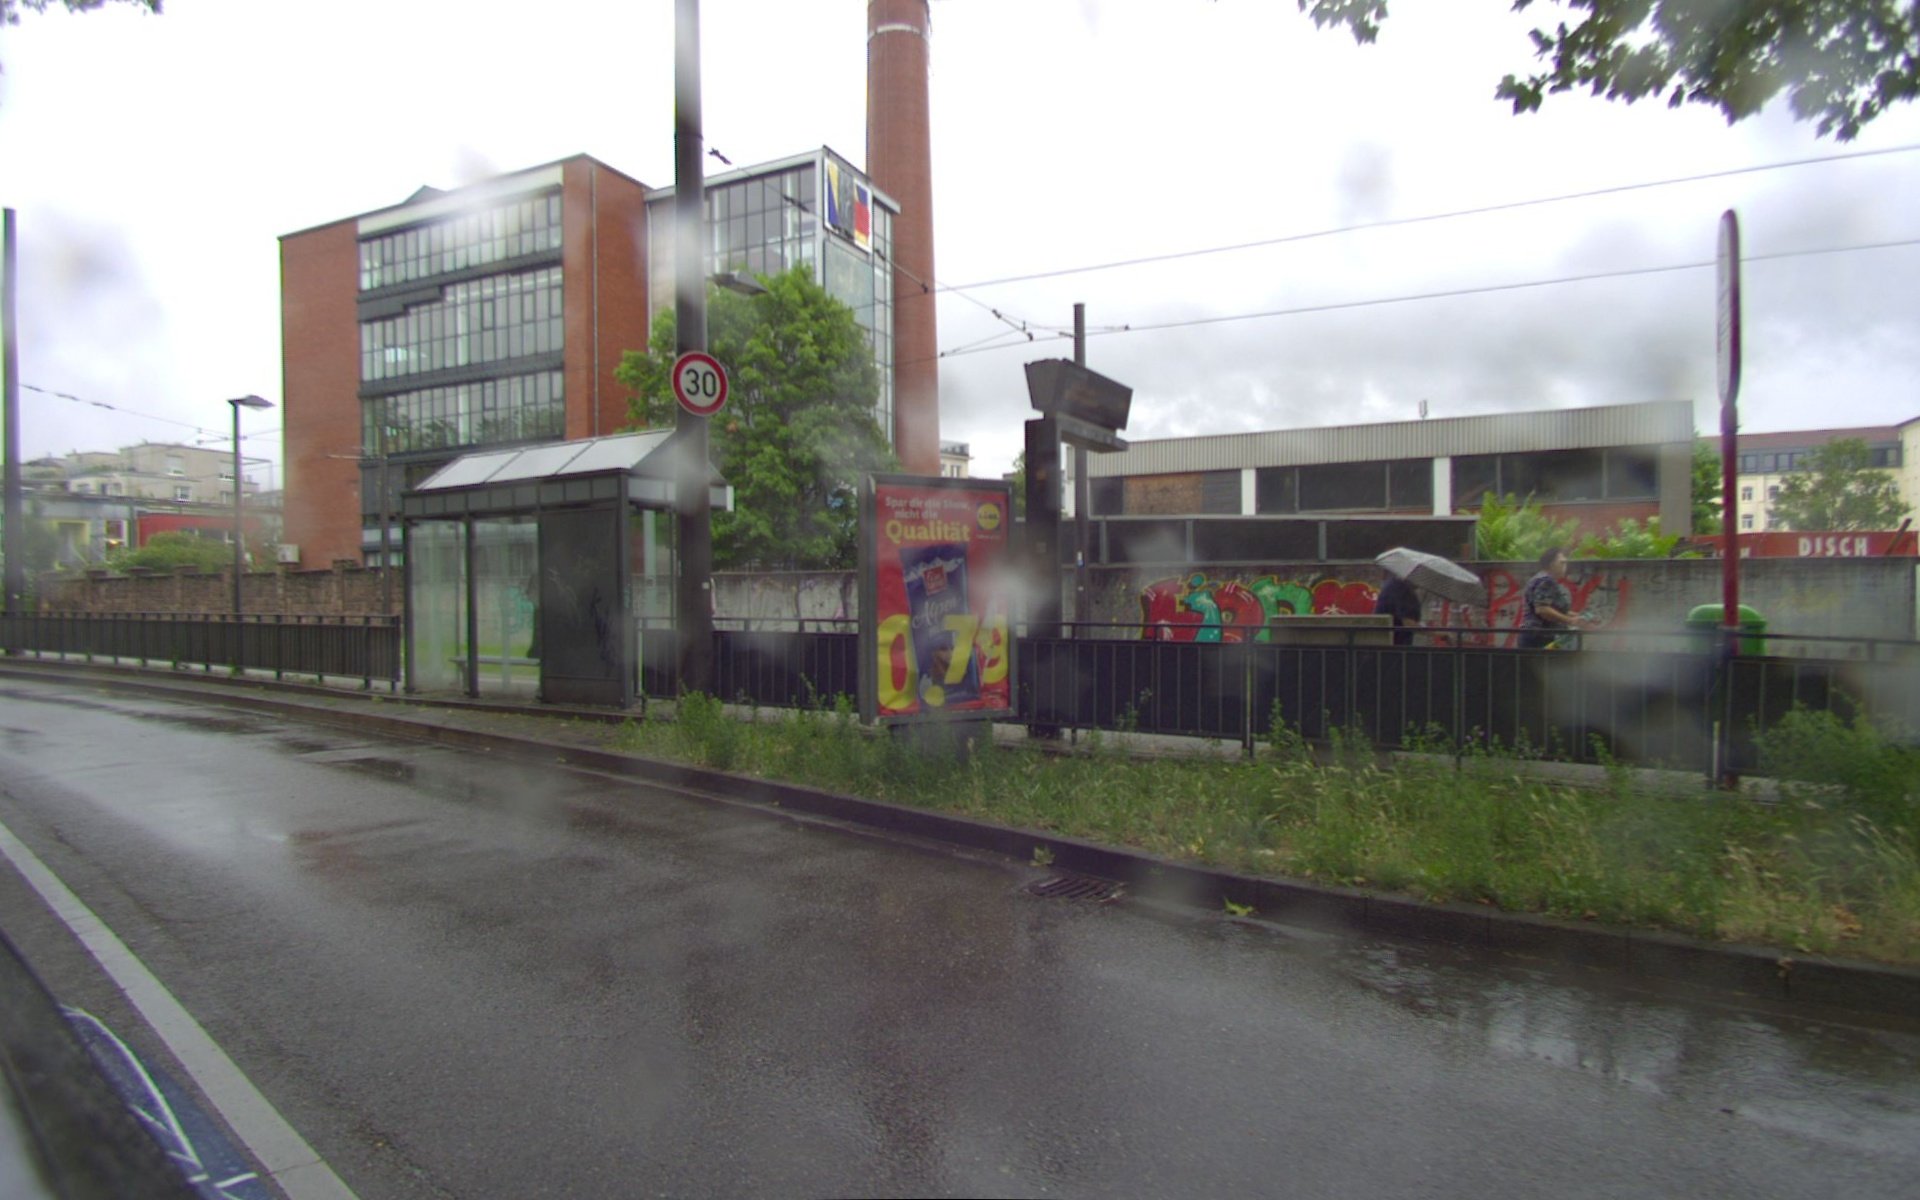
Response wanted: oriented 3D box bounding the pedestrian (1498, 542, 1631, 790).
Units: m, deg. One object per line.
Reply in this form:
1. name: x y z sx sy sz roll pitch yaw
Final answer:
1. pedestrian: 4.738 0.482 7.977 0.841 1.818 0.819 -1 0 30

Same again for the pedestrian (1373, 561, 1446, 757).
1. pedestrian: 3.474 0.433 7.820 0.492 1.438 0.606 0 0 25

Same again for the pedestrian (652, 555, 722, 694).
1. pedestrian: -3.279 0.282 12.199 0.491 1.615 0.710 0 0 22

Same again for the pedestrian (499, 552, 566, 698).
1. pedestrian: -5.331 0.300 12.614 0.620 1.762 0.565 0 0 -41
